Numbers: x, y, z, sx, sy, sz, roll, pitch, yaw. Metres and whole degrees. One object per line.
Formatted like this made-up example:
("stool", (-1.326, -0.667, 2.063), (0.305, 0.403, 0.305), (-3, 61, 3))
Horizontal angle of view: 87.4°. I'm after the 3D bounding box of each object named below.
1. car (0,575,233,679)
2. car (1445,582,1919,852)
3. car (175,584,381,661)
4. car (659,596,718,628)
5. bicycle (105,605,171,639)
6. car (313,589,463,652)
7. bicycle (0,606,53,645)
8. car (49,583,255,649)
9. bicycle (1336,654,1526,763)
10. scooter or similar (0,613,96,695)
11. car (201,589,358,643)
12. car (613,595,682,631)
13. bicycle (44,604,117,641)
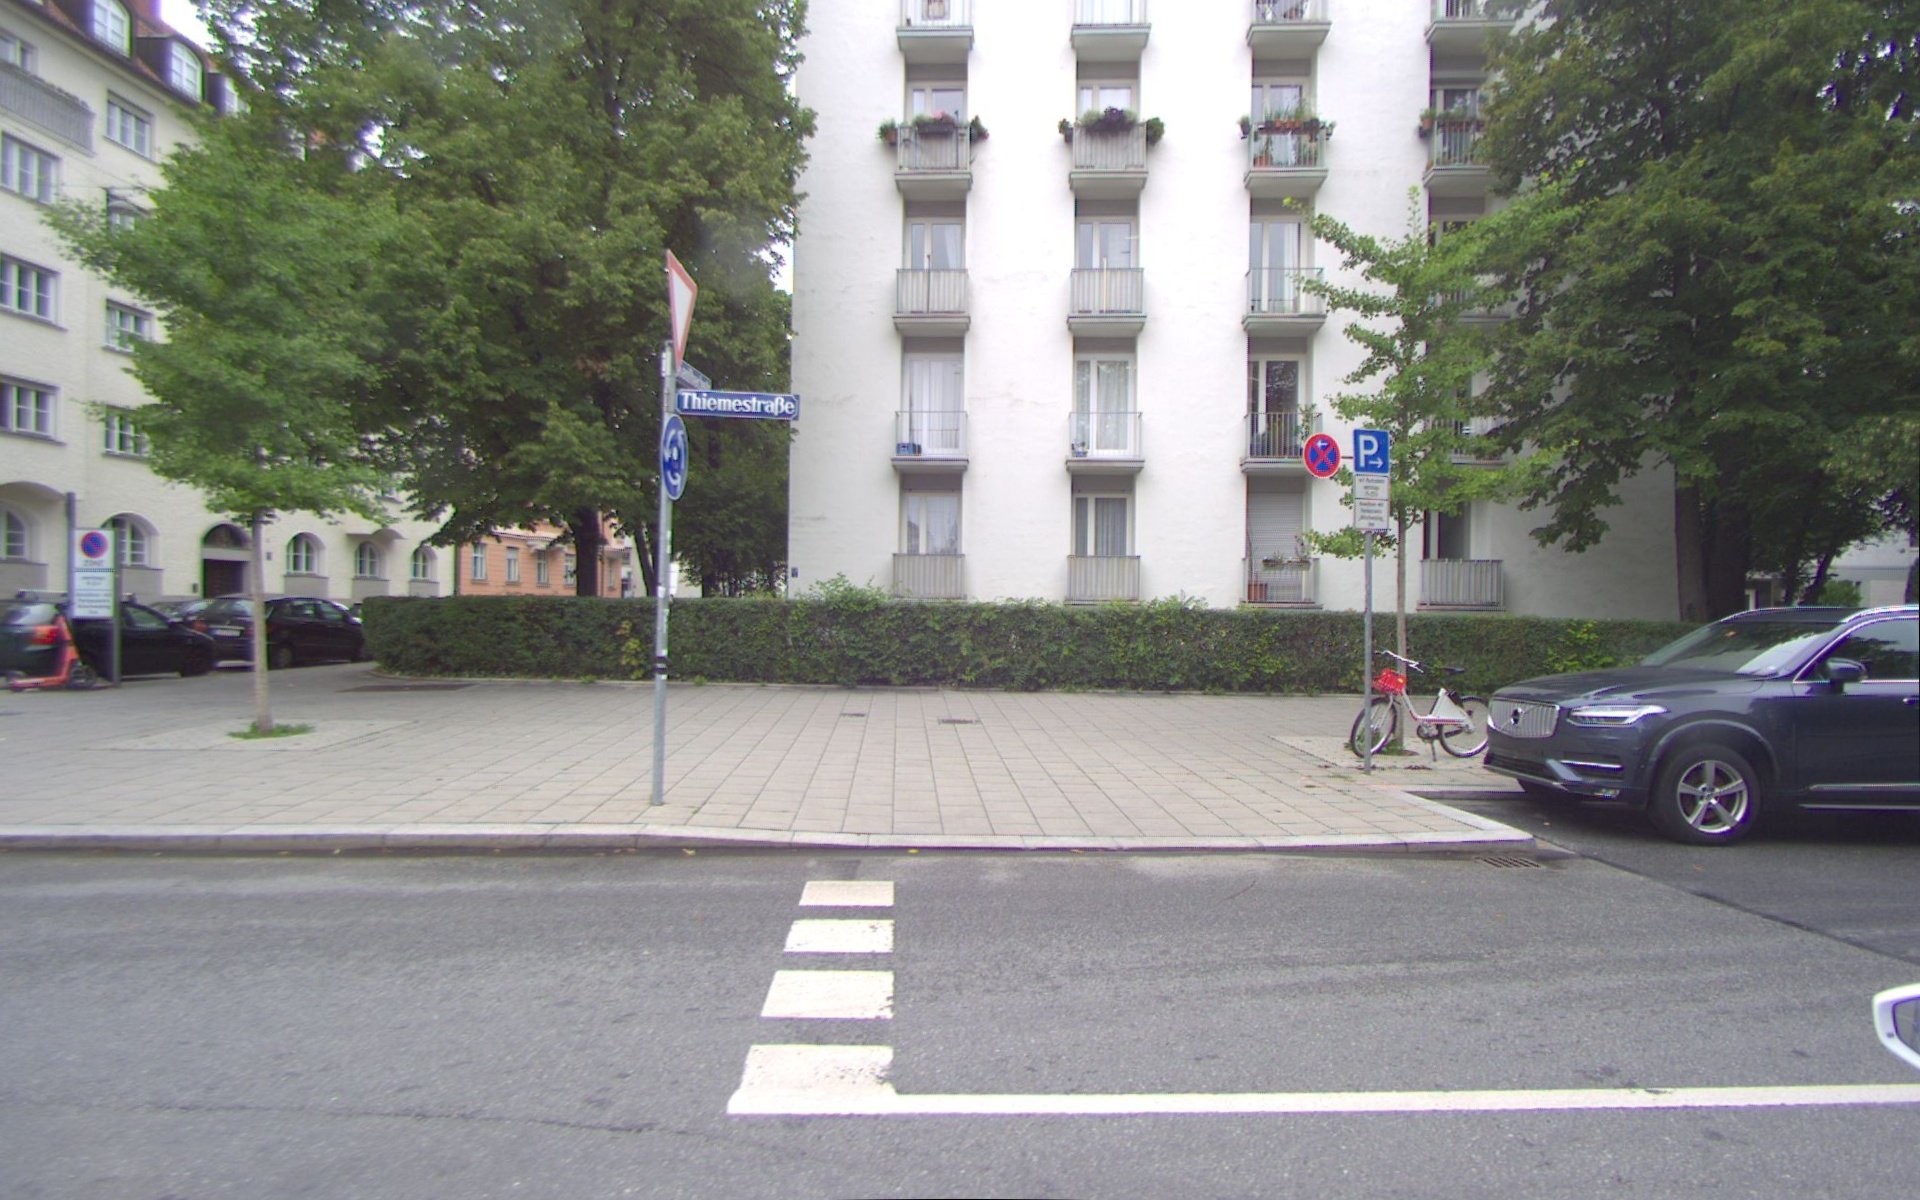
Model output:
("car", (-14.661, 0.412, 16.877), (1.789, 1.525, 4.421), (0, 0, -2))
("car", (6.717, 0.853, 7.933), (4.817, 1.815, 2.000), (1, -1, -2))
("car", (-14.813, 0.464, 22.139), (1.764, 1.525, 4.233), (0, 0, -2))
("car", (-14.508, 0.630, 53.897), (1.804, 1.656, 3.821), (0, 0, 5))
("bicycle", (-26.293, 0.688, 32.163), (0.553, 1.063, 1.831), (1, 0, 2))
("car", (-15.070, 0.511, 26.725), (1.764, 1.525, 4.114), (0, 0, -2))
("bicycle", (-26.454, 0.706, 28.031), (0.553, 1.063, 1.831), (1, 0, 2))
("car", (-22.274, 0.412, 27.991), (1.943, 1.637, 4.712), (1, 0, -1))
("bicycle", (4.860, 1.107, 10.393), (1.797, 1.063, 0.491), (1, 0, -8))
("scooter or similar", (-12.792, 0.751, 14.050), (0.988, 1.103, 0.388), (1, 0, -25))
("car", (-22.103, 0.492, 32.875), (1.942, 1.602, 4.409), (1, 0, 4))
("car", (-14.941, 0.607, 48.242), (1.804, 1.656, 4.116), (0, 0, 3))
("bicycle", (-26.358, 0.661, 30.143), (0.553, 1.063, 1.831), (1, 0, 2))
